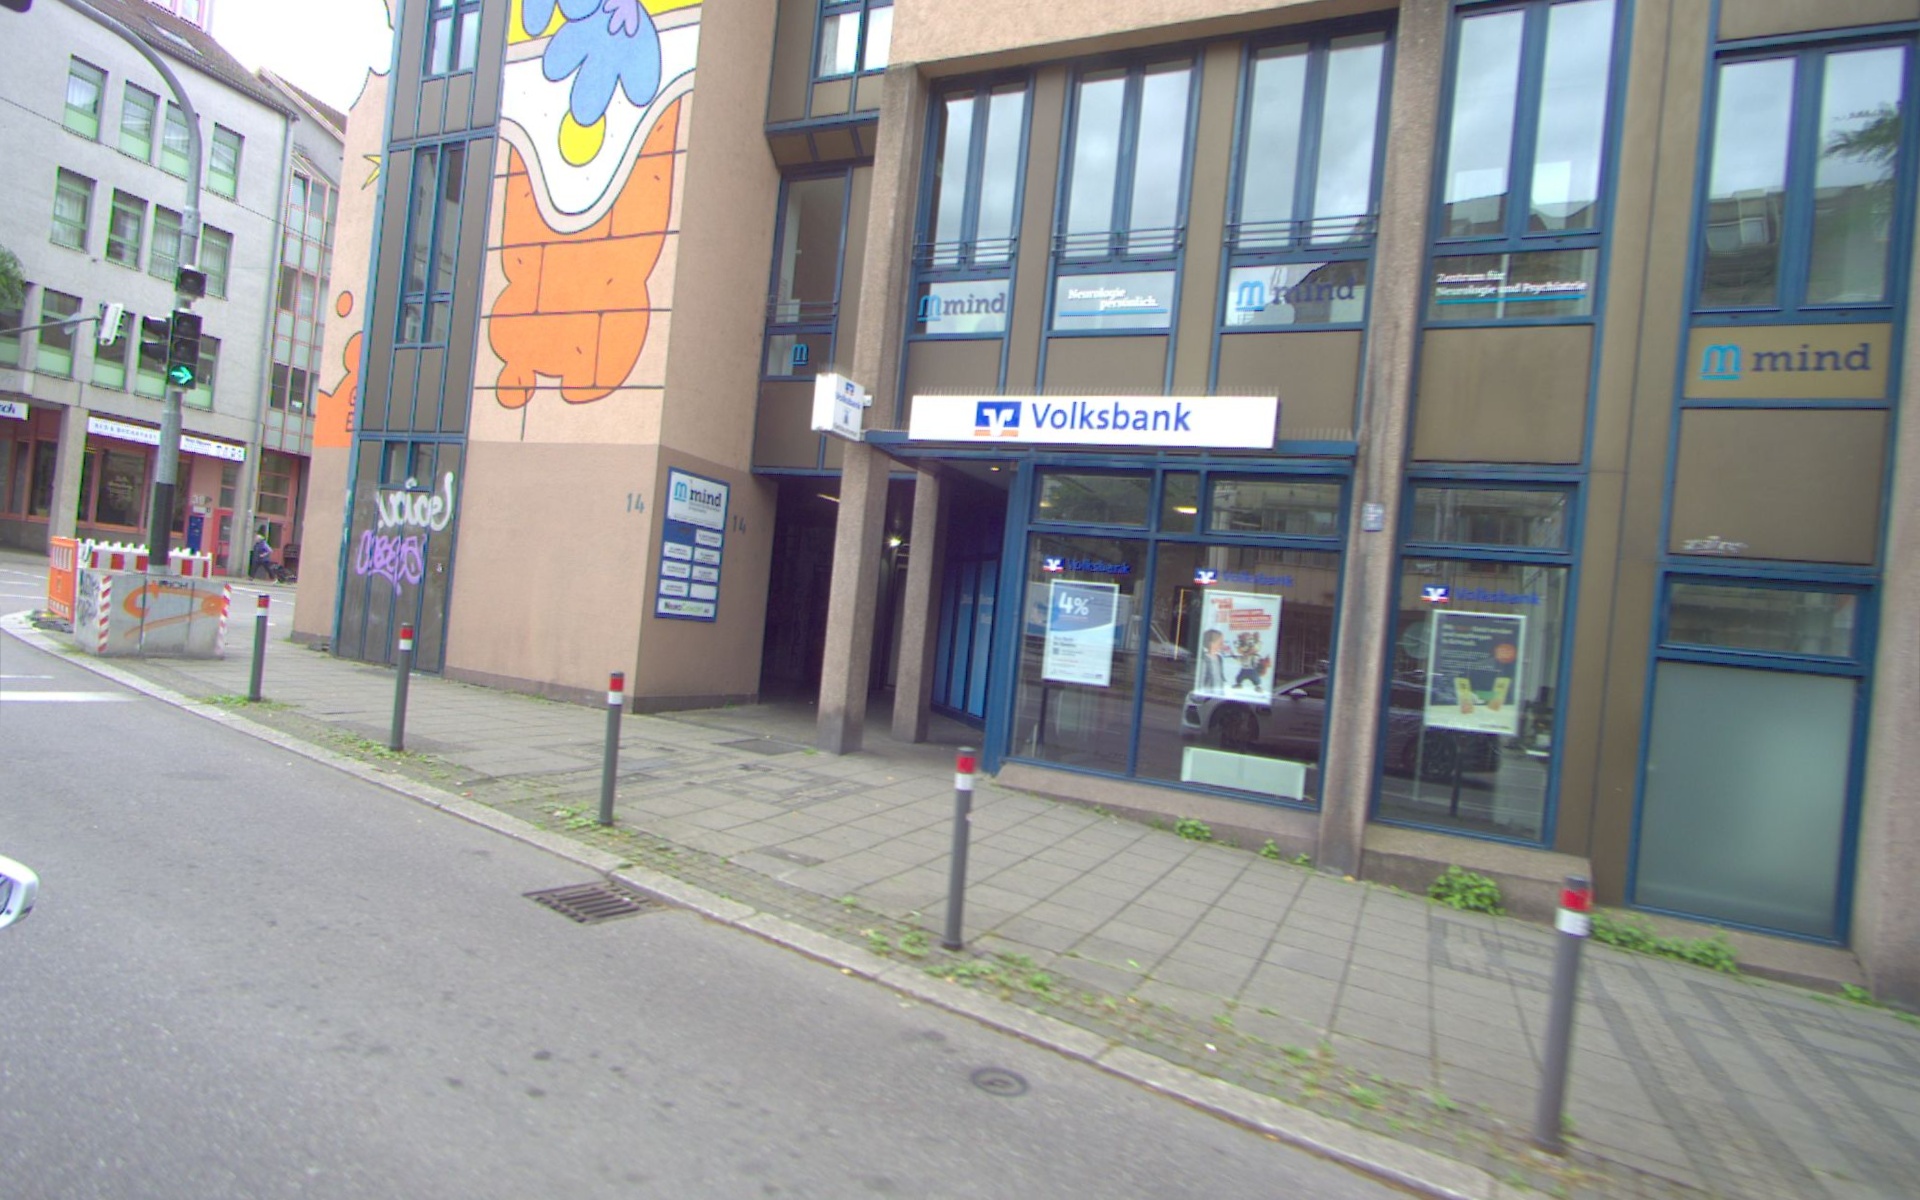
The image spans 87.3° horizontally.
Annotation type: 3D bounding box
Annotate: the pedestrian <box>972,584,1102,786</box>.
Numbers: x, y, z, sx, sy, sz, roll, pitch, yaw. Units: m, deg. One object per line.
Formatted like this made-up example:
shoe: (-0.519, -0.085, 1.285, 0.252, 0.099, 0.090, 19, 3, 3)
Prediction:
pedestrian: (0.737, 0.793, 9.547, 0.781, 1.742, 0.771, 7, 0, 29)

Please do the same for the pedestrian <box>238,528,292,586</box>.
pedestrian: (-22.806, -1.410, 33.039, 1.111, 1.733, 0.851, 8, 0, -23)

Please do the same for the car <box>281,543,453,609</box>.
car: (-17.815, -0.666, 30.480, 1.820, 1.445, 4.163, 7, -1, 21)
